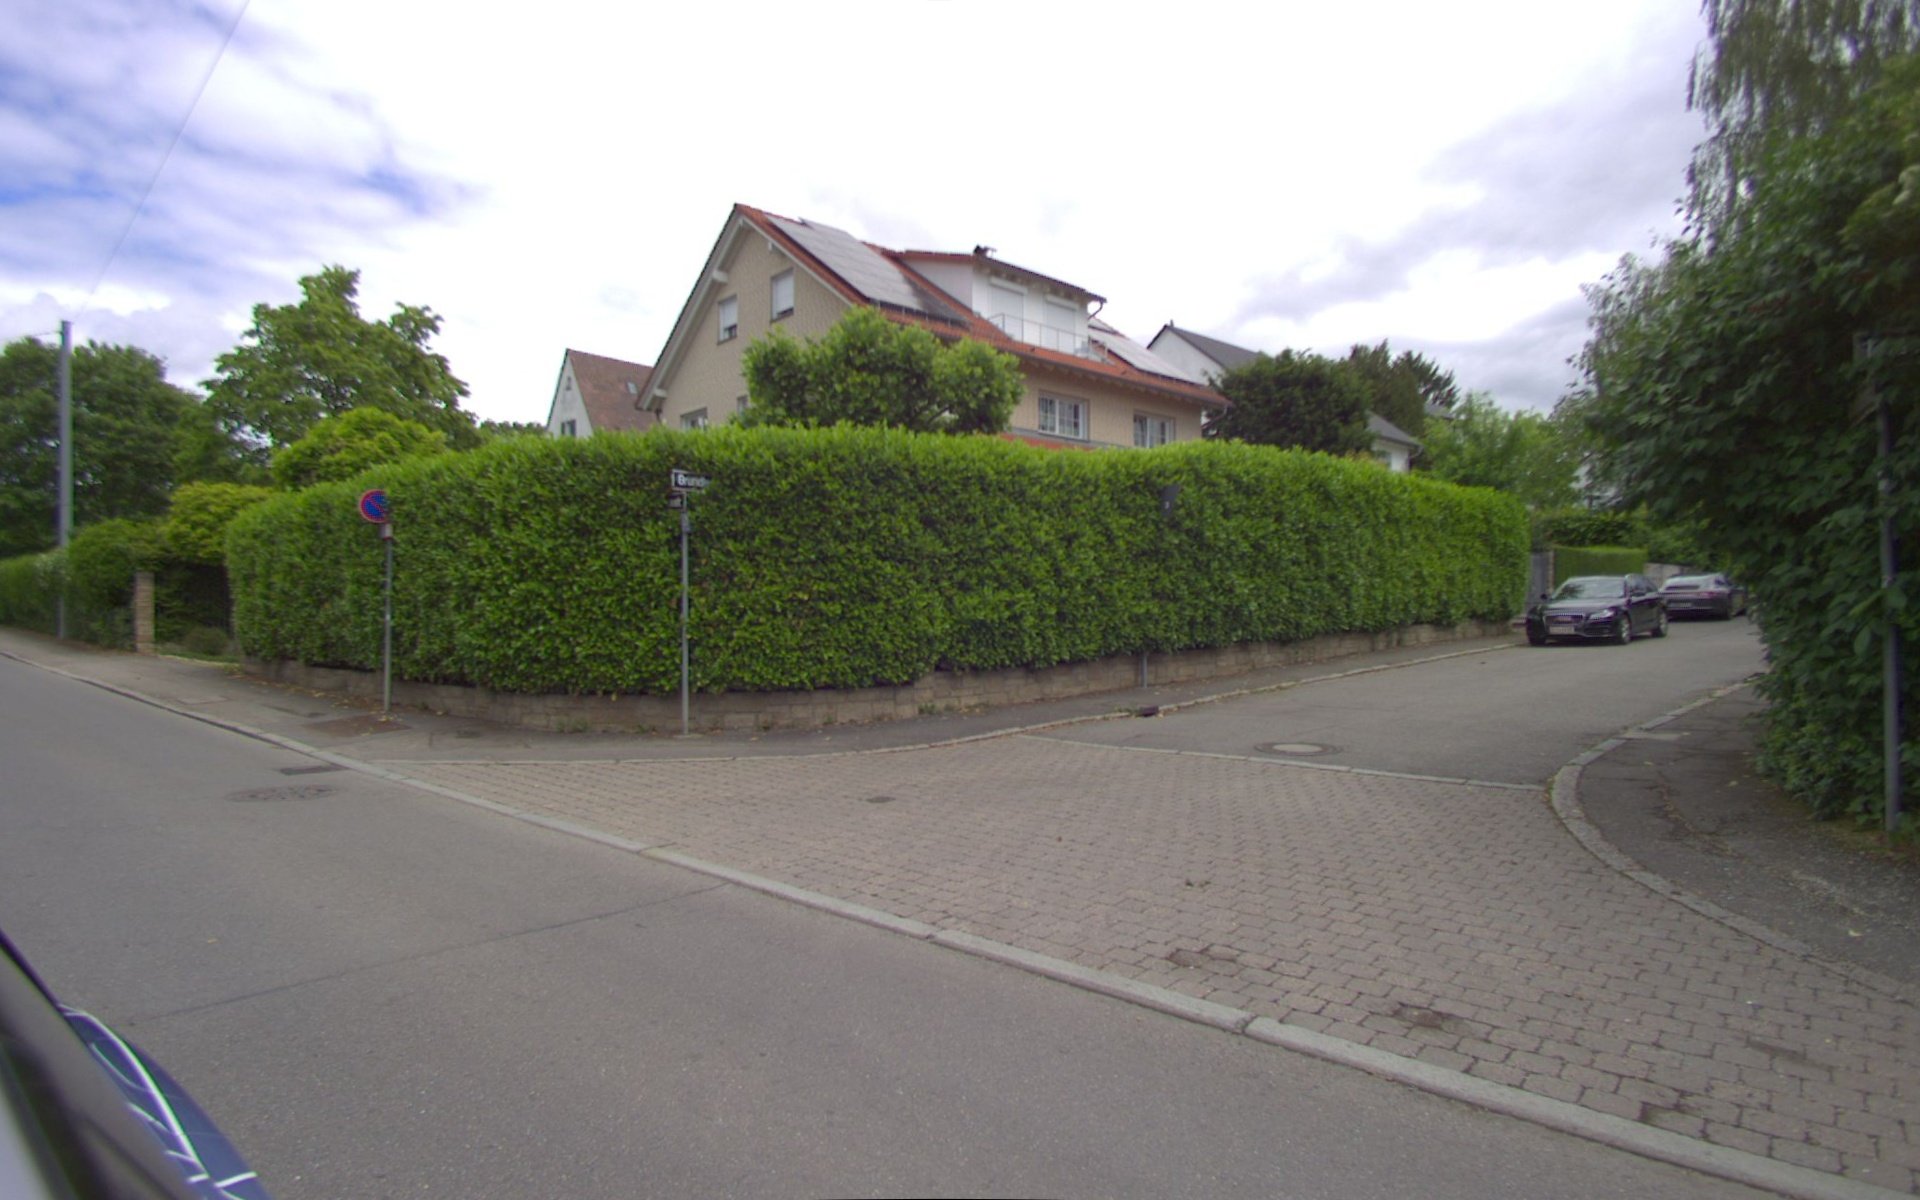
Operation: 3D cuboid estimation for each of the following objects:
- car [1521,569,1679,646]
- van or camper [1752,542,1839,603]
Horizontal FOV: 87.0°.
[{"bbox_3d":[13.766,0.130,21.694,3.939,1.426,1.850,-3,0,-42],"label":"car"},{"bbox_3d":[31.212,-1.036,37.793,3.940,2.085,1.940,-3,0,-43],"label":"van or camper"}]
